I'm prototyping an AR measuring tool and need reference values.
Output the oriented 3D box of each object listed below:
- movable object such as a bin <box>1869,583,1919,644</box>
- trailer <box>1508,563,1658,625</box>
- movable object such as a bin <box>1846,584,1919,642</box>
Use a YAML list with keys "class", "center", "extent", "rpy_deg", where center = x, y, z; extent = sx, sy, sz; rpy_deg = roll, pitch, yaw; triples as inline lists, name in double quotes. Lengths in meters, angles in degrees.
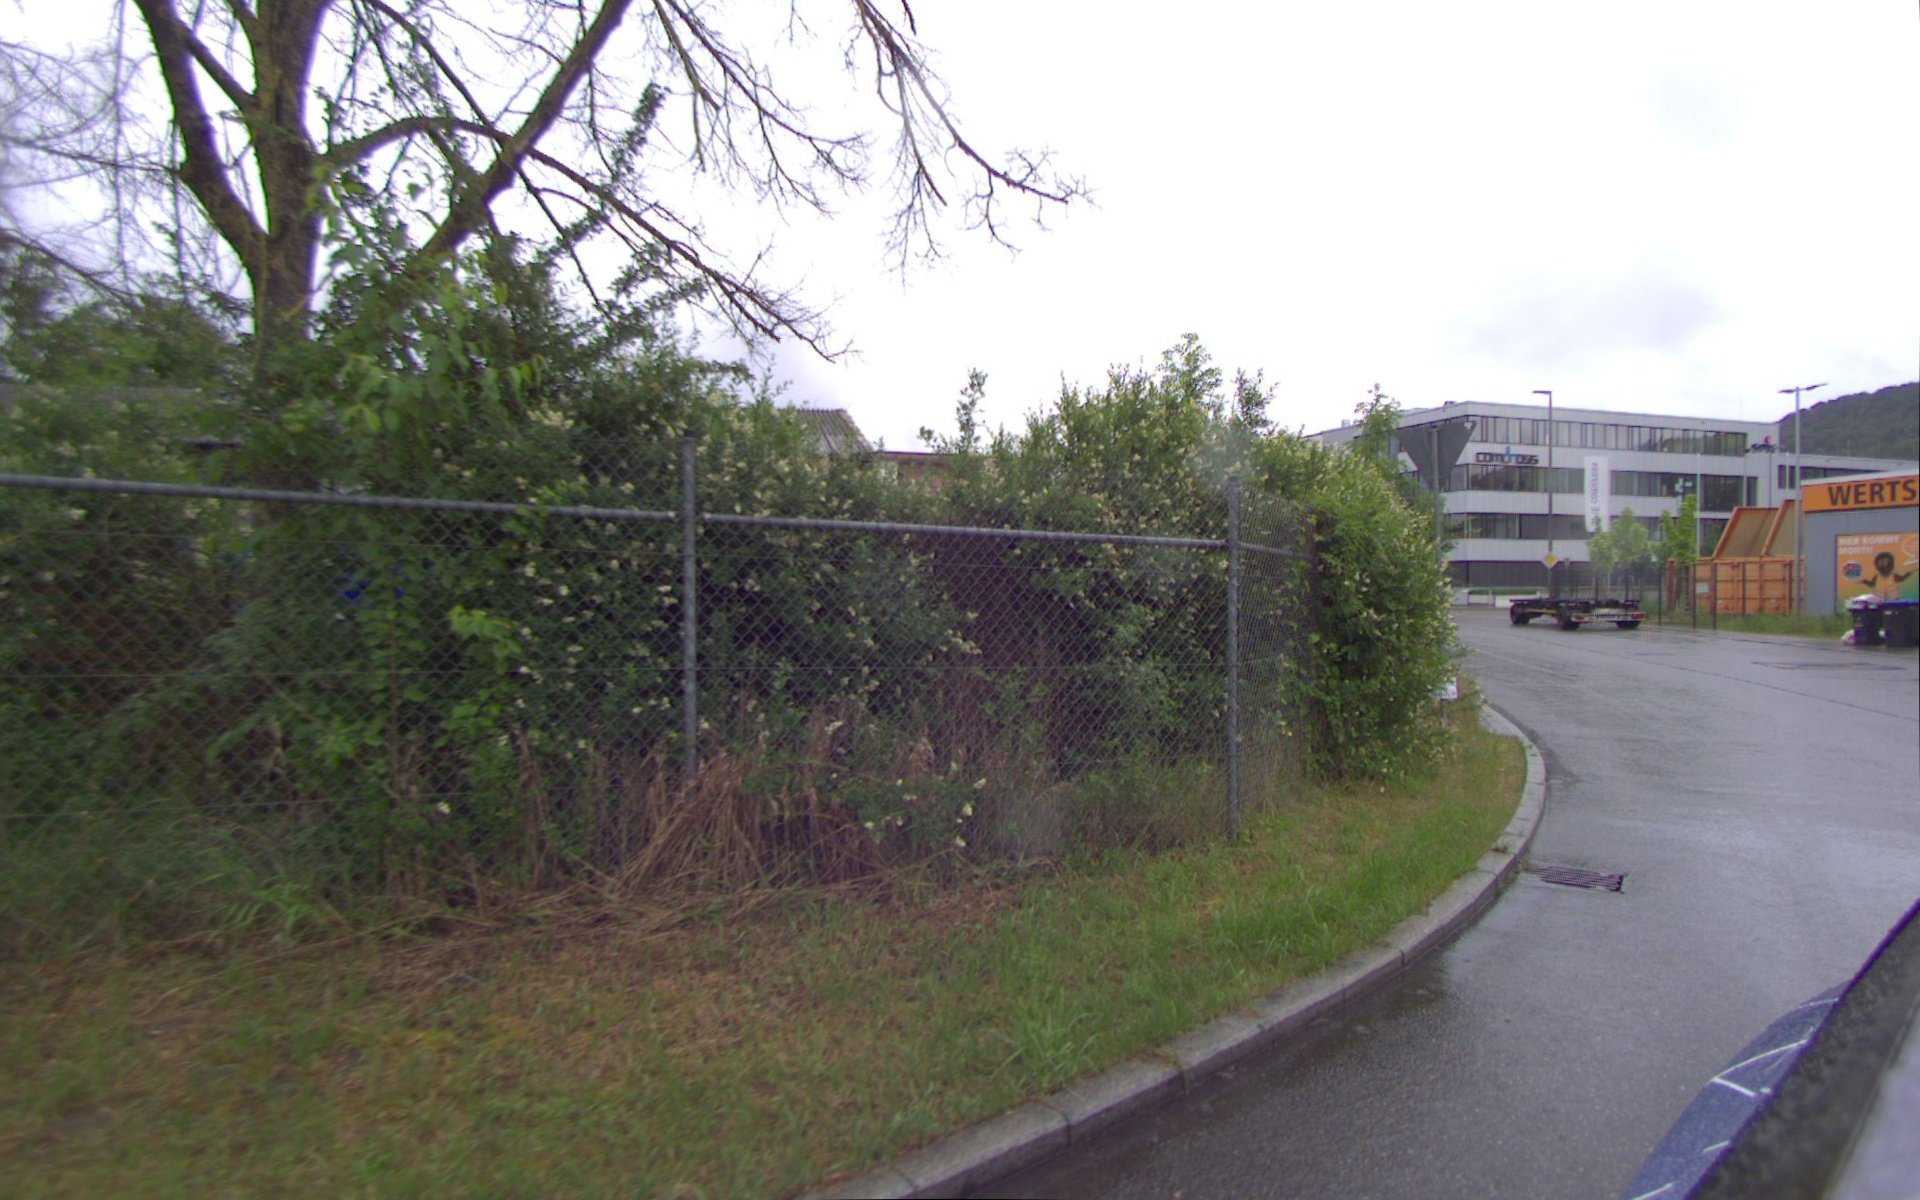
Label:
- class: "movable object such as a bin"
  center: [21.252, 0.298, 22.675]
  extent: [0.968, 1.339, 0.997]
  rpy_deg: [0, 0, 18]
- class: "trailer"
  center: [22.824, -0.238, 37.516]
  extent: [2.537, 2.039, 6.615]
  rpy_deg: [-1, 1, 11]
- class: "movable object such as a bin"
  center: [21.565, 0.286, 23.637]
  extent: [0.968, 1.339, 0.997]
  rpy_deg: [0, 0, 18]
